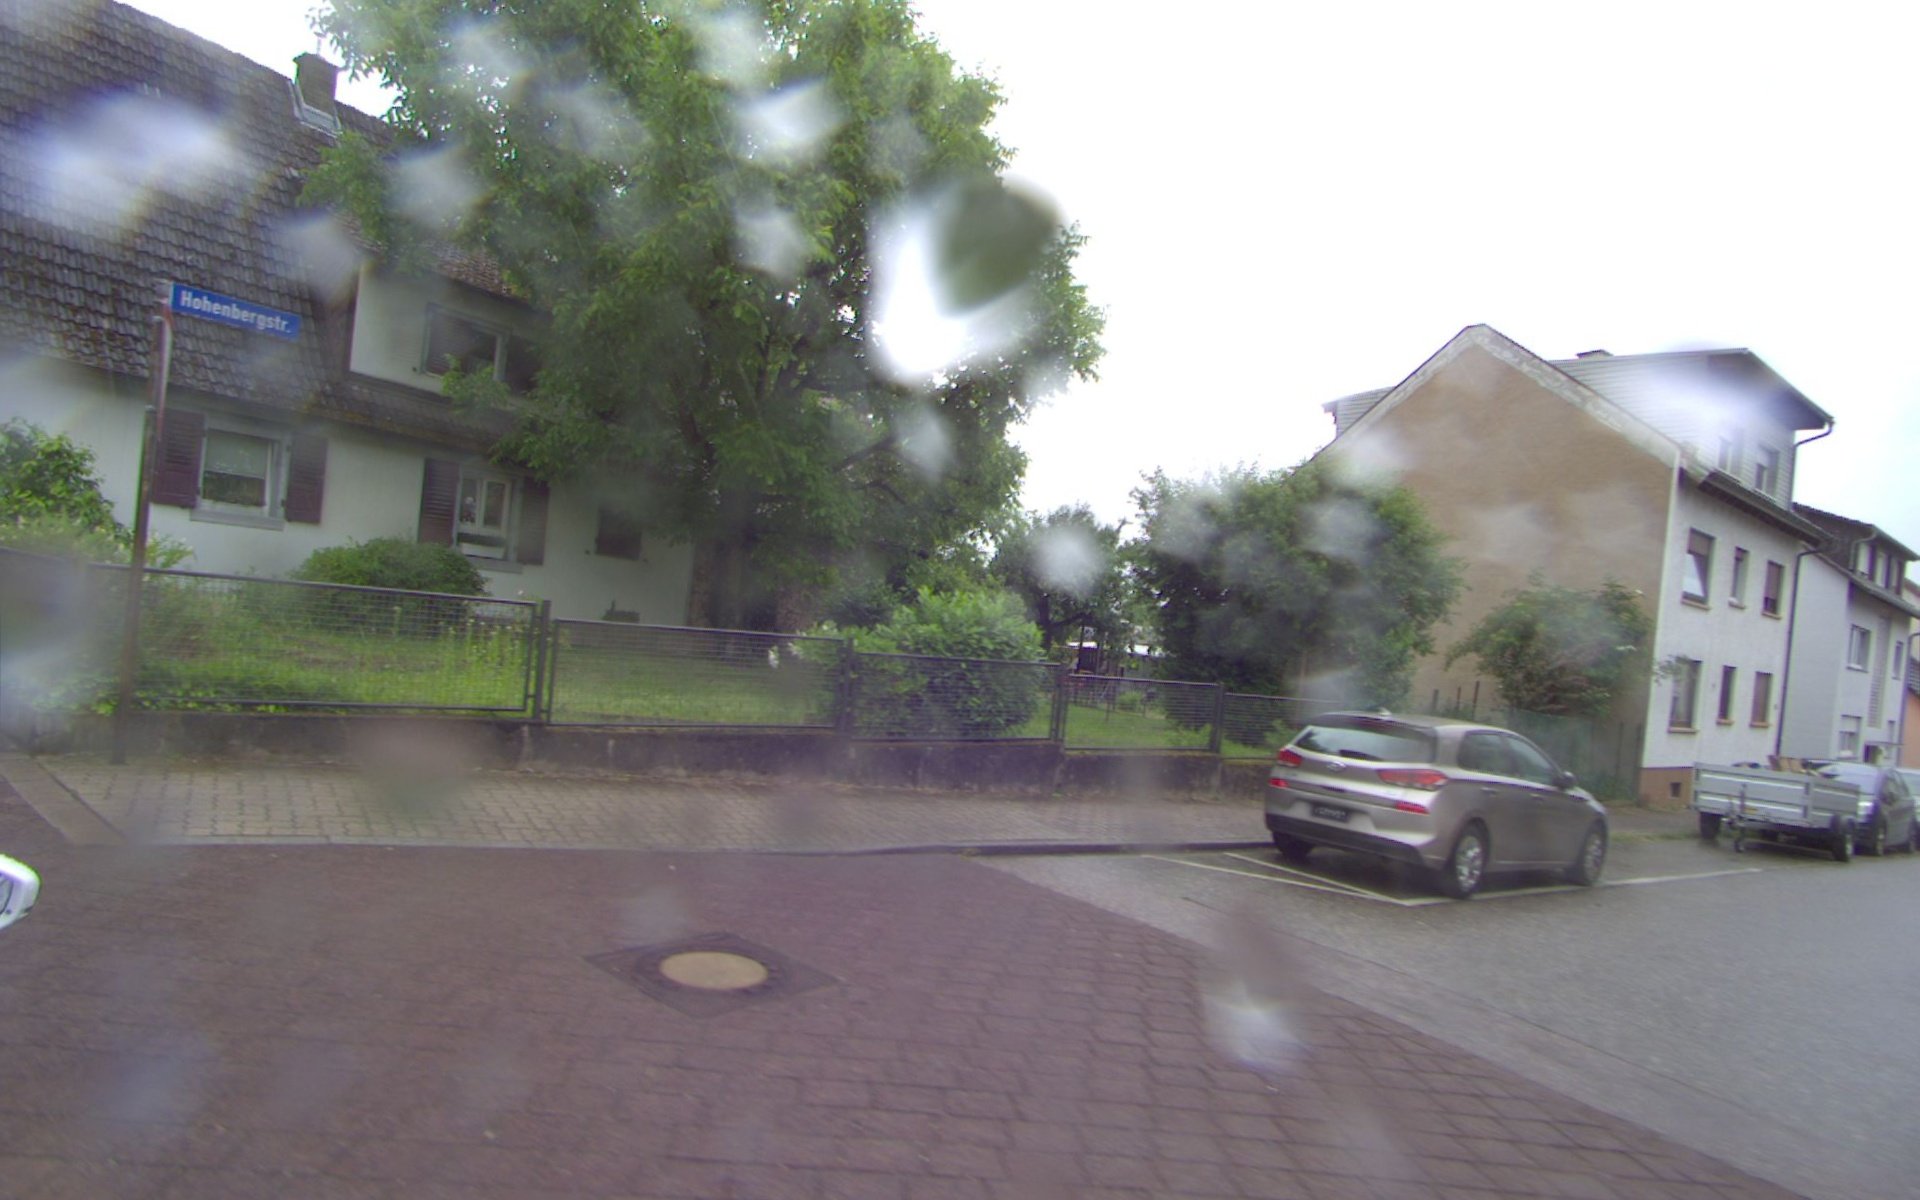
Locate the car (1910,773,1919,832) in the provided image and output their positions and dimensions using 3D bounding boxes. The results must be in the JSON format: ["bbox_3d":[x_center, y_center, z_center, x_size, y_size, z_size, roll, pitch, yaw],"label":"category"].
[{"bbox_3d":[28.756,5.920,28.554,4.065,1.588,1.980,9,-3,-38],"label":"car"}]

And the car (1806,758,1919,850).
[{"bbox_3d":[20.594,4.510,22.283,4.065,1.588,1.980,9,-3,-38],"label":"car"}]

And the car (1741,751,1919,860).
[{"bbox_3d":[16.937,3.919,19.380,4.065,1.588,1.980,9,-3,-38],"label":"car"}]

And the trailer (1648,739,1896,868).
[{"bbox_3d":[13.517,3.349,16.665,4.509,1.584,1.985,9,-3,-35],"label":"trailer"}]

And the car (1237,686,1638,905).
[{"bbox_3d":[4.688,1.799,9.657,3.968,1.488,1.774,8,-2,-37],"label":"car"}]
